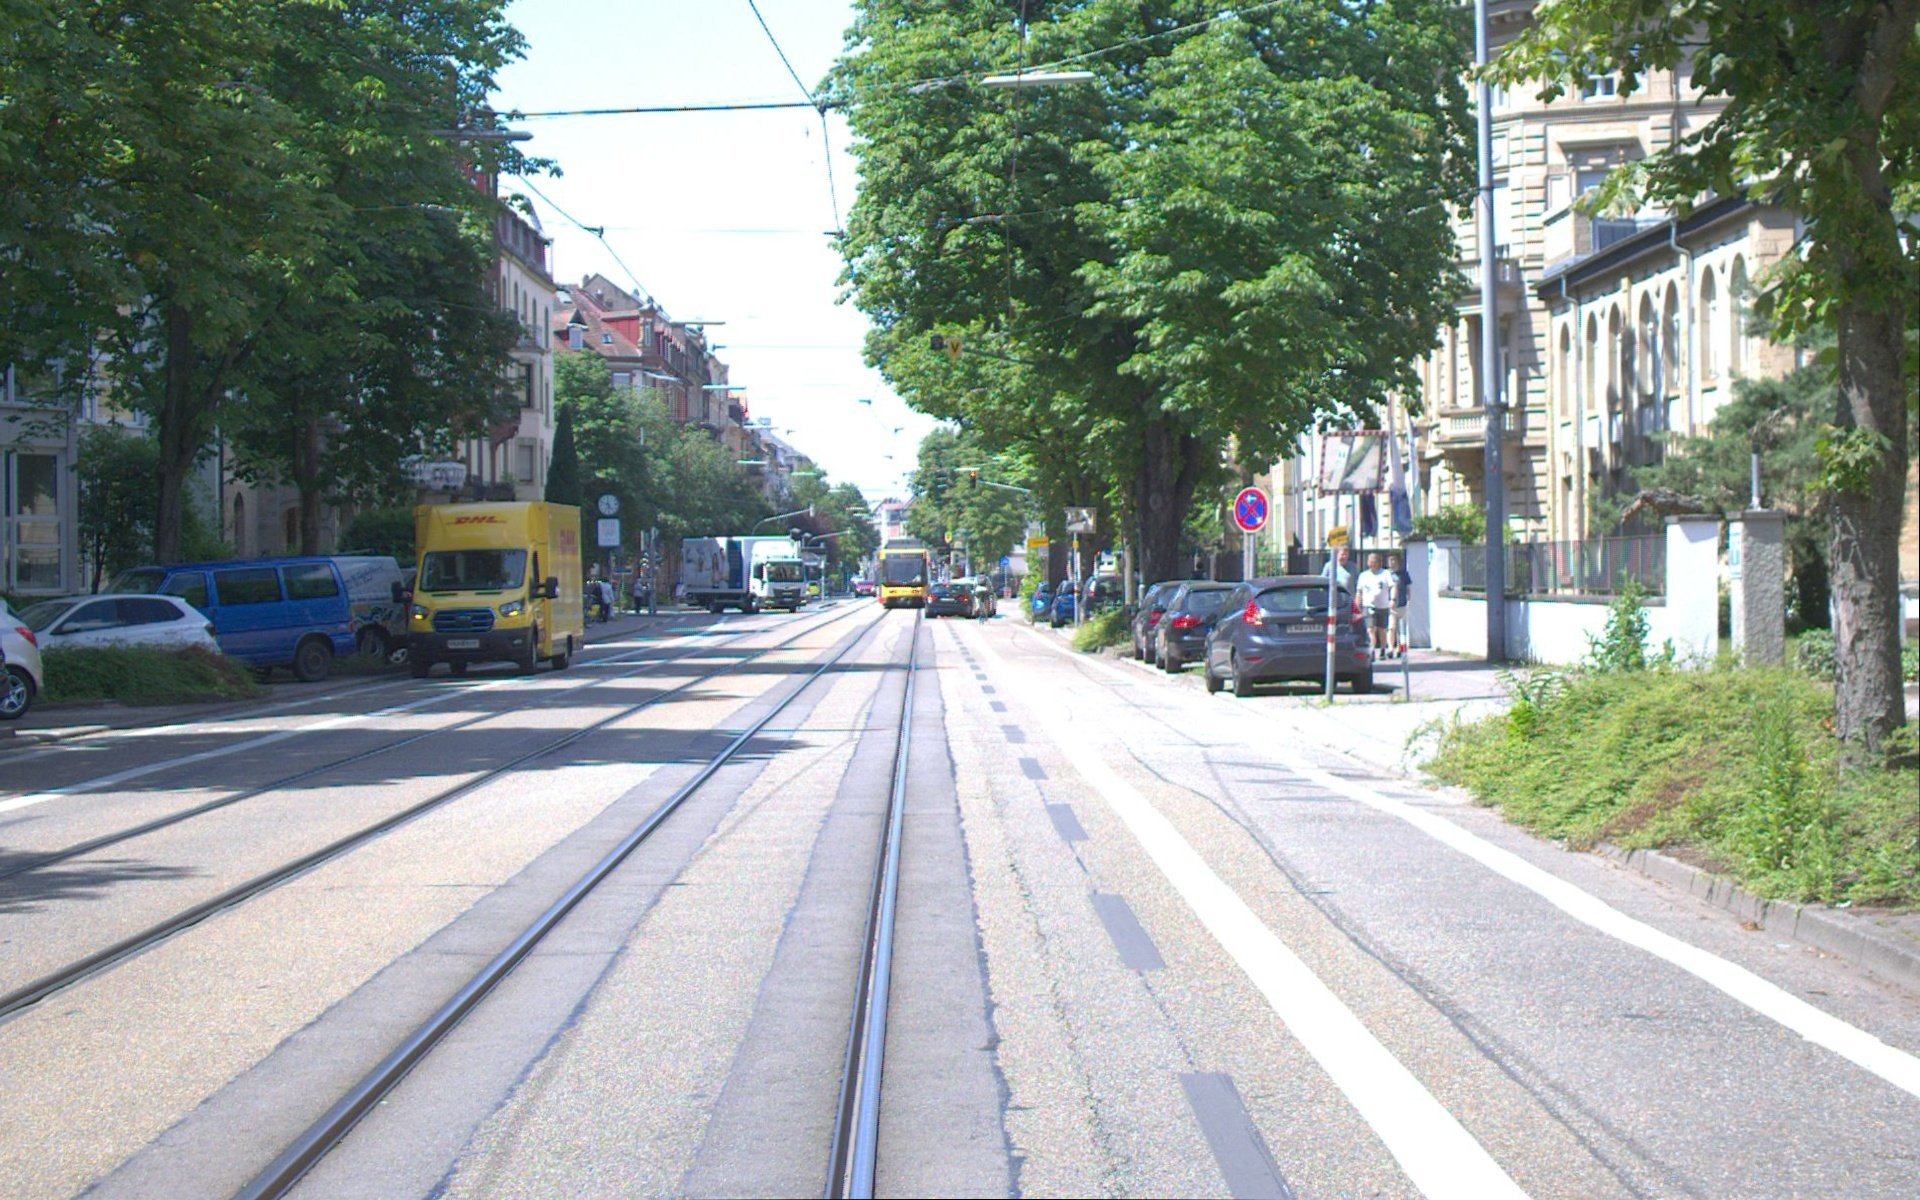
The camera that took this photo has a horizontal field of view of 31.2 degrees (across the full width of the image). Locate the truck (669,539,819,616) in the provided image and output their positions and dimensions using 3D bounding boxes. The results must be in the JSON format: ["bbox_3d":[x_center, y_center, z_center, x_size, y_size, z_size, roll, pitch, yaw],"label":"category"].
[{"bbox_3d":[-10.323,-1.078,163.527,2.940,3.538,8.450,-1,1,-36],"label":"truck"}]

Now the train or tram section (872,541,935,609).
[{"bbox_3d":[-2.862,-1.291,178.228,3.035,3.427,11.970,0,0,0],"label":"train or tram section"}]

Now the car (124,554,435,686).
[{"bbox_3d":[-11.559,0.319,58.578,4.749,2.055,2.026,-2,1,-39],"label":"car"}]

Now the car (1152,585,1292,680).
[{"bbox_3d":[4.201,0.514,55.659,1.876,1.450,4.528,-1,0,0],"label":"car"}]

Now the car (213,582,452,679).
[{"bbox_3d":[-11.310,0.541,62.096,1.746,1.595,3.909,-1,1,44],"label":"car"}]

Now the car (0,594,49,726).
[{"bbox_3d":[-12.244,0.728,38.172,1.761,1.462,3.700,-2,0,44],"label":"car"}]

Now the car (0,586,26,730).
[{"bbox_3d":[-11.807,0.670,35.545,1.816,1.502,3.700,-2,0,44],"label":"car"}]

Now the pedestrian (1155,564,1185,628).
[{"bbox_3d":[6.156,-0.115,100.684,0.808,1.853,0.623,0,-1,-2],"label":"pedestrian"}]

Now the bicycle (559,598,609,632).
[{"bbox_3d":[-11.249,0.464,102.935,0.544,0.966,1.778,0,-1,29],"label":"bicycle"}]

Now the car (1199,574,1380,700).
[{"bbox_3d":[4.090,0.449,43.224,1.639,1.480,3.873,-1,0,-4],"label":"car"}]

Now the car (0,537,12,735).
[{"bbox_3d":[-11.585,0.424,32.442,1.920,1.928,4.745,-2,0,42],"label":"car"}]

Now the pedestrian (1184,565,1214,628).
[{"bbox_3d":[7.048,-0.107,101.342,0.808,1.853,0.623,0,-1,-2],"label":"pedestrian"}]

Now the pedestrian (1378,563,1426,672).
[{"bbox_3d":[7.158,0.279,55.647,0.619,1.731,0.477,-2,0,22],"label":"pedestrian"}]

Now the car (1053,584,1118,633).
[{"bbox_3d":[3.763,0.258,103.539,1.710,1.418,4.310,-1,0,-1],"label":"car"}]

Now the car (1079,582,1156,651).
[{"bbox_3d":[3.832,0.401,84.115,1.592,1.611,3.908,-1,0,-1],"label":"car"}]

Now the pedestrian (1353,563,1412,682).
[{"bbox_3d":[6.696,0.355,54.457,0.725,1.853,0.575,-1,0,31],"label":"pedestrian"}]

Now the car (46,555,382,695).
[{"bbox_3d":[-11.312,0.352,52.353,1.846,1.949,4.719,-1,1,44],"label":"car"}]

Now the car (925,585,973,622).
[{"bbox_3d":[-0.415,0.132,129.534,1.781,1.341,3.416,0,0,0],"label":"car"}]

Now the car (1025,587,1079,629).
[{"bbox_3d":[3.243,0.287,121.959,1.710,1.418,4.310,-1,0,-1],"label":"car"}]

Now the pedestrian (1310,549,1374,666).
[{"bbox_3d":[6.125,0.113,55.129,0.810,1.853,0.575,-1,0,32],"label":"pedestrian"}]

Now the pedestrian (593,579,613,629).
[{"bbox_3d":[-11.695,0.126,112.618,0.572,1.610,0.816,0,0,0],"label":"pedestrian"}]

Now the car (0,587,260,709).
[{"bbox_3d":[-11.538,0.636,45.828,1.761,1.428,3.991,-3,0,42],"label":"car"}]

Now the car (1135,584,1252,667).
[{"bbox_3d":[4.181,0.443,62.130,1.710,1.418,4.244,-1,0,-1],"label":"car"}]

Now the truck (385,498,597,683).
[{"bbox_3d":[-7.724,-0.183,57.443,2.360,2.843,7.378,-1,1,1],"label":"truck"}]

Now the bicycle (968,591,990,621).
[{"bbox_3d":[0.640,0.213,115.449,0.639,0.966,1.781,1,-1,-2],"label":"bicycle"}]
